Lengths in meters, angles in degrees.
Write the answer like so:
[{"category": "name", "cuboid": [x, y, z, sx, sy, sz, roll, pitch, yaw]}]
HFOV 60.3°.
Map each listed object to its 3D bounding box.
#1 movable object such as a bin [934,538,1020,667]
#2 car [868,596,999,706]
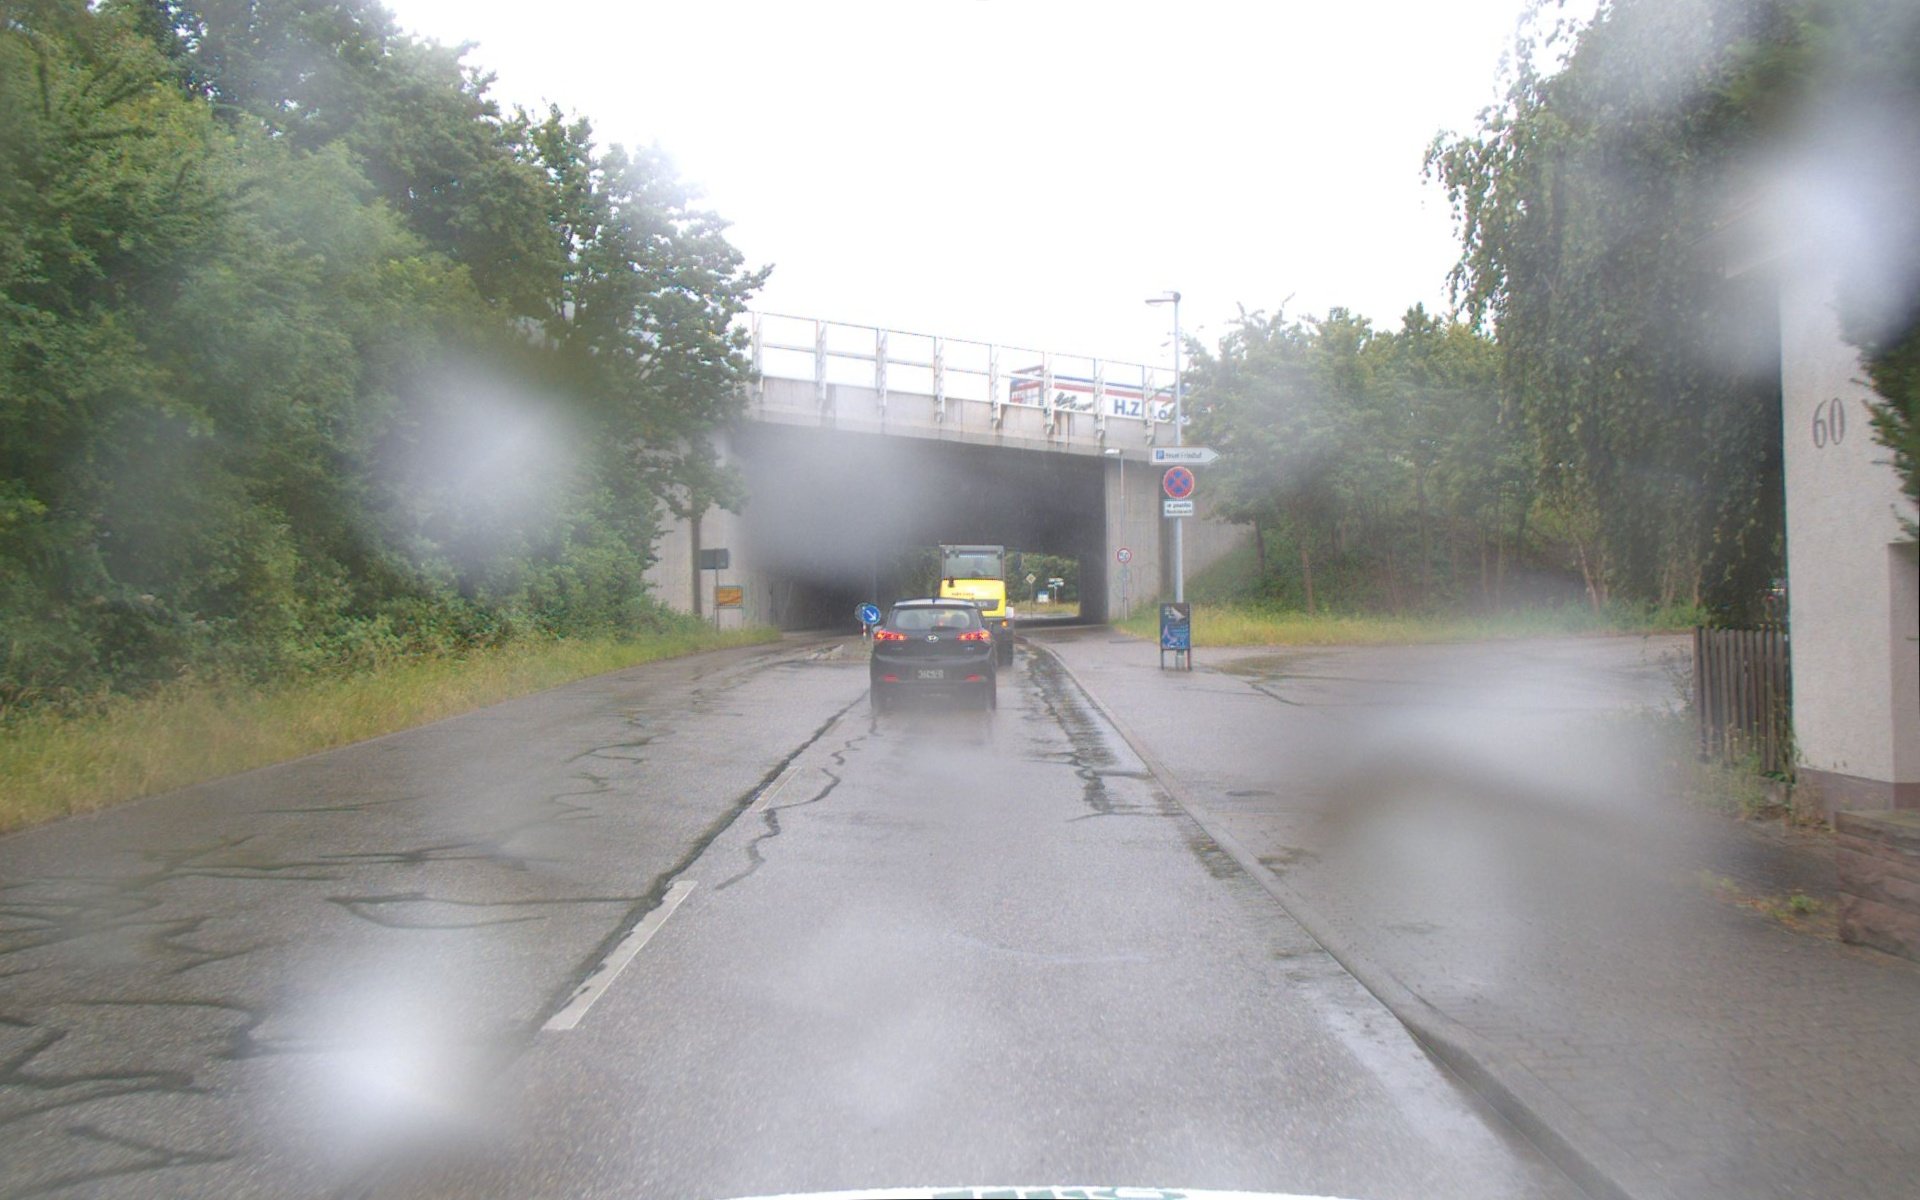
[{"category": "movable object such as a bin", "cuboid": [0.319, 0.057, 35.735, 1.725, 2.592, 4.238, 1, 0, -1]}, {"category": "car", "cuboid": [-0.370, 0.667, 23.339, 1.674, 1.401, 3.999, 1, 0, -1]}]
